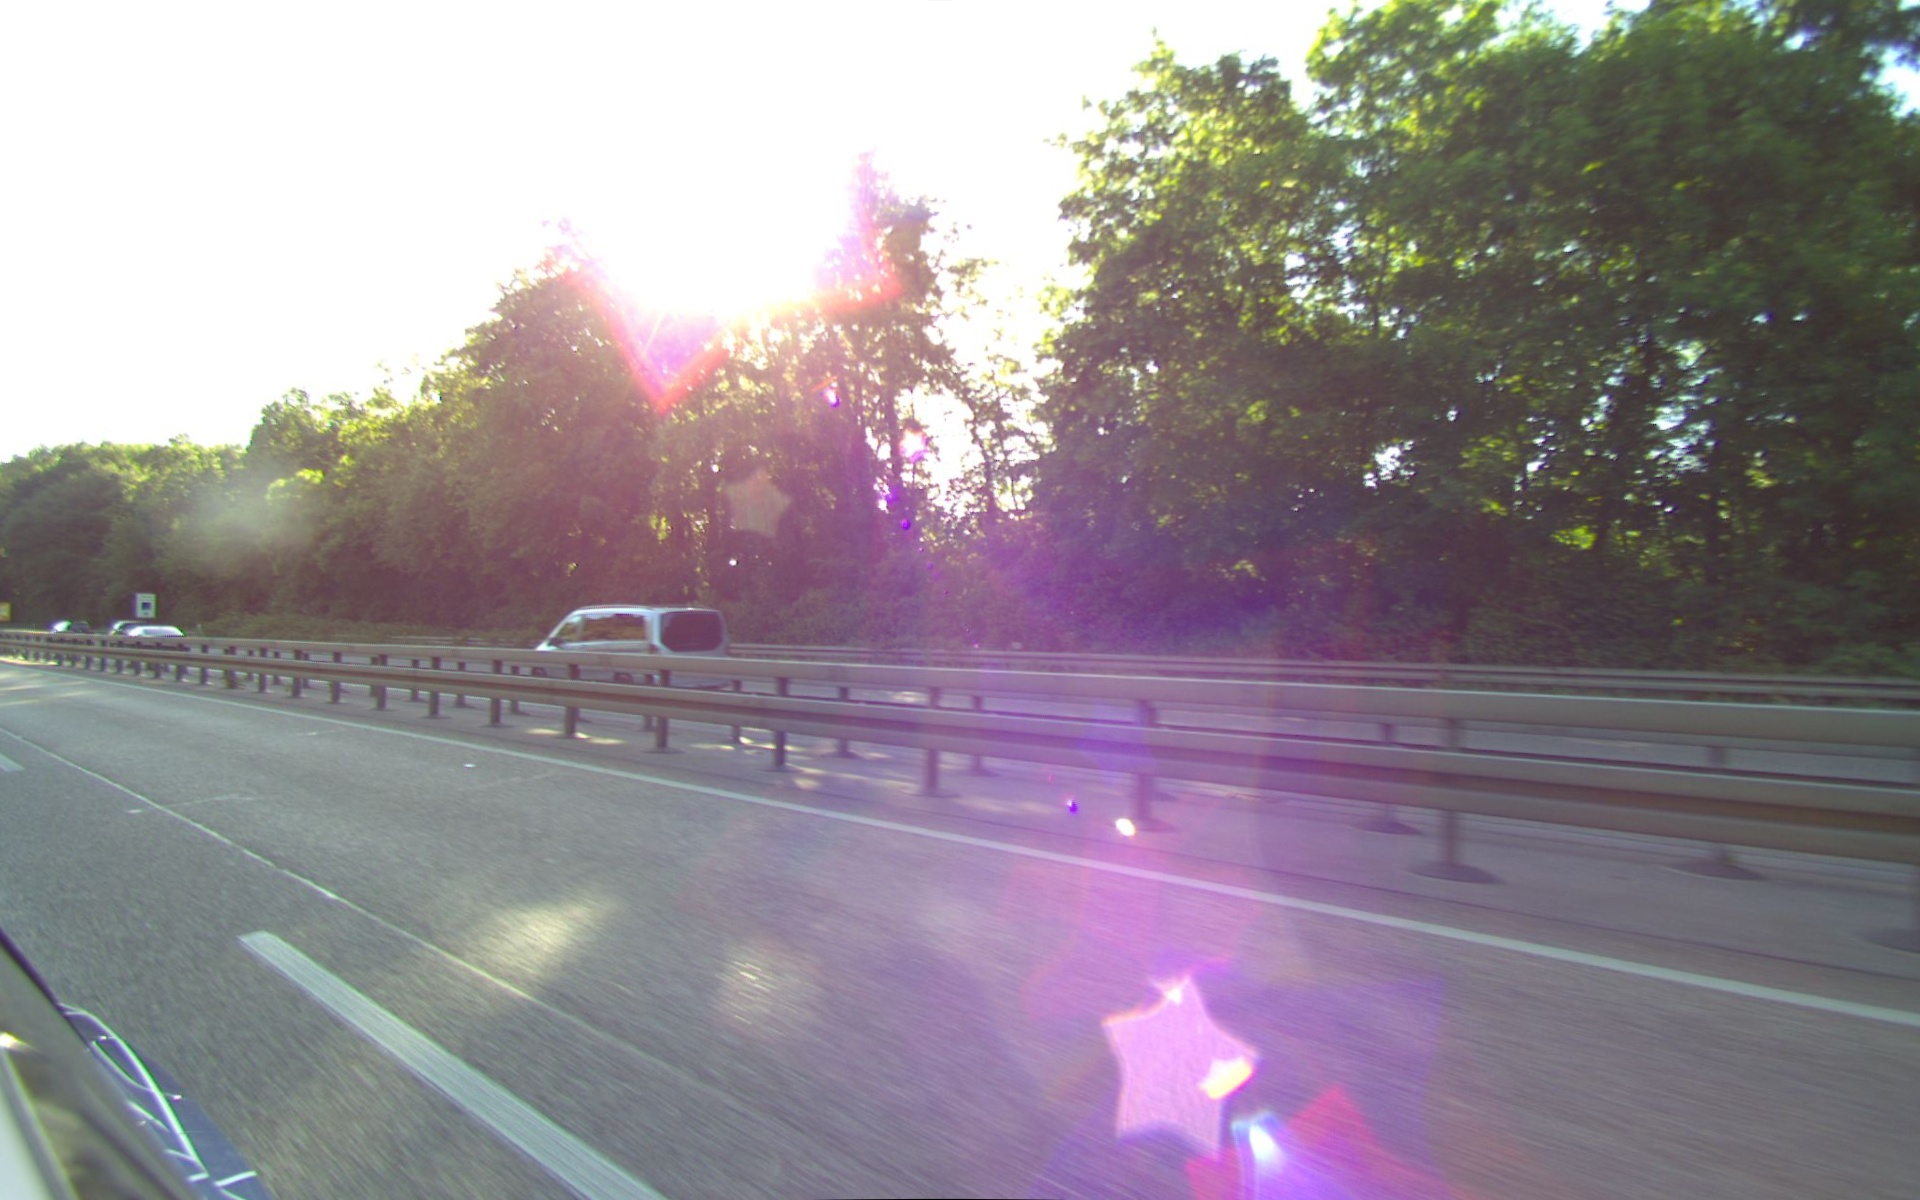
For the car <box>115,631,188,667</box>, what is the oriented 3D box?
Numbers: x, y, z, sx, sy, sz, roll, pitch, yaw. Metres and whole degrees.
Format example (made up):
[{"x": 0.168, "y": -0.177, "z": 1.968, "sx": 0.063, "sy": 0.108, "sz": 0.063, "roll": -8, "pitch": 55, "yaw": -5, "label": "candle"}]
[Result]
[{"x": -34.310, "y": 2.069, "z": 42.898, "sx": 4.342, "sy": 1.464, "sz": 1.581, "roll": -2, "pitch": -4, "yaw": 41, "label": "car"}]

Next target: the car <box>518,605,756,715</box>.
[{"x": -6.548, "y": 1.150, "z": 20.136, "sx": 5.410, "sy": 1.917, "sz": 1.868, "roll": -1, "pitch": -4, "yaw": 40, "label": "car"}]

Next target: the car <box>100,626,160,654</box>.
[{"x": -50.105, "y": 2.419, "z": 61.070, "sx": 3.995, "sy": 1.597, "sz": 1.974, "roll": -1, "pitch": -4, "yaw": 38, "label": "car"}]

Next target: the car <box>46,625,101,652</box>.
[{"x": -60.377, "y": 2.630, "z": 68.925, "sx": 4.544, "sy": 1.763, "sz": 1.974, "roll": -1, "pitch": -4, "yaw": 38, "label": "car"}]
